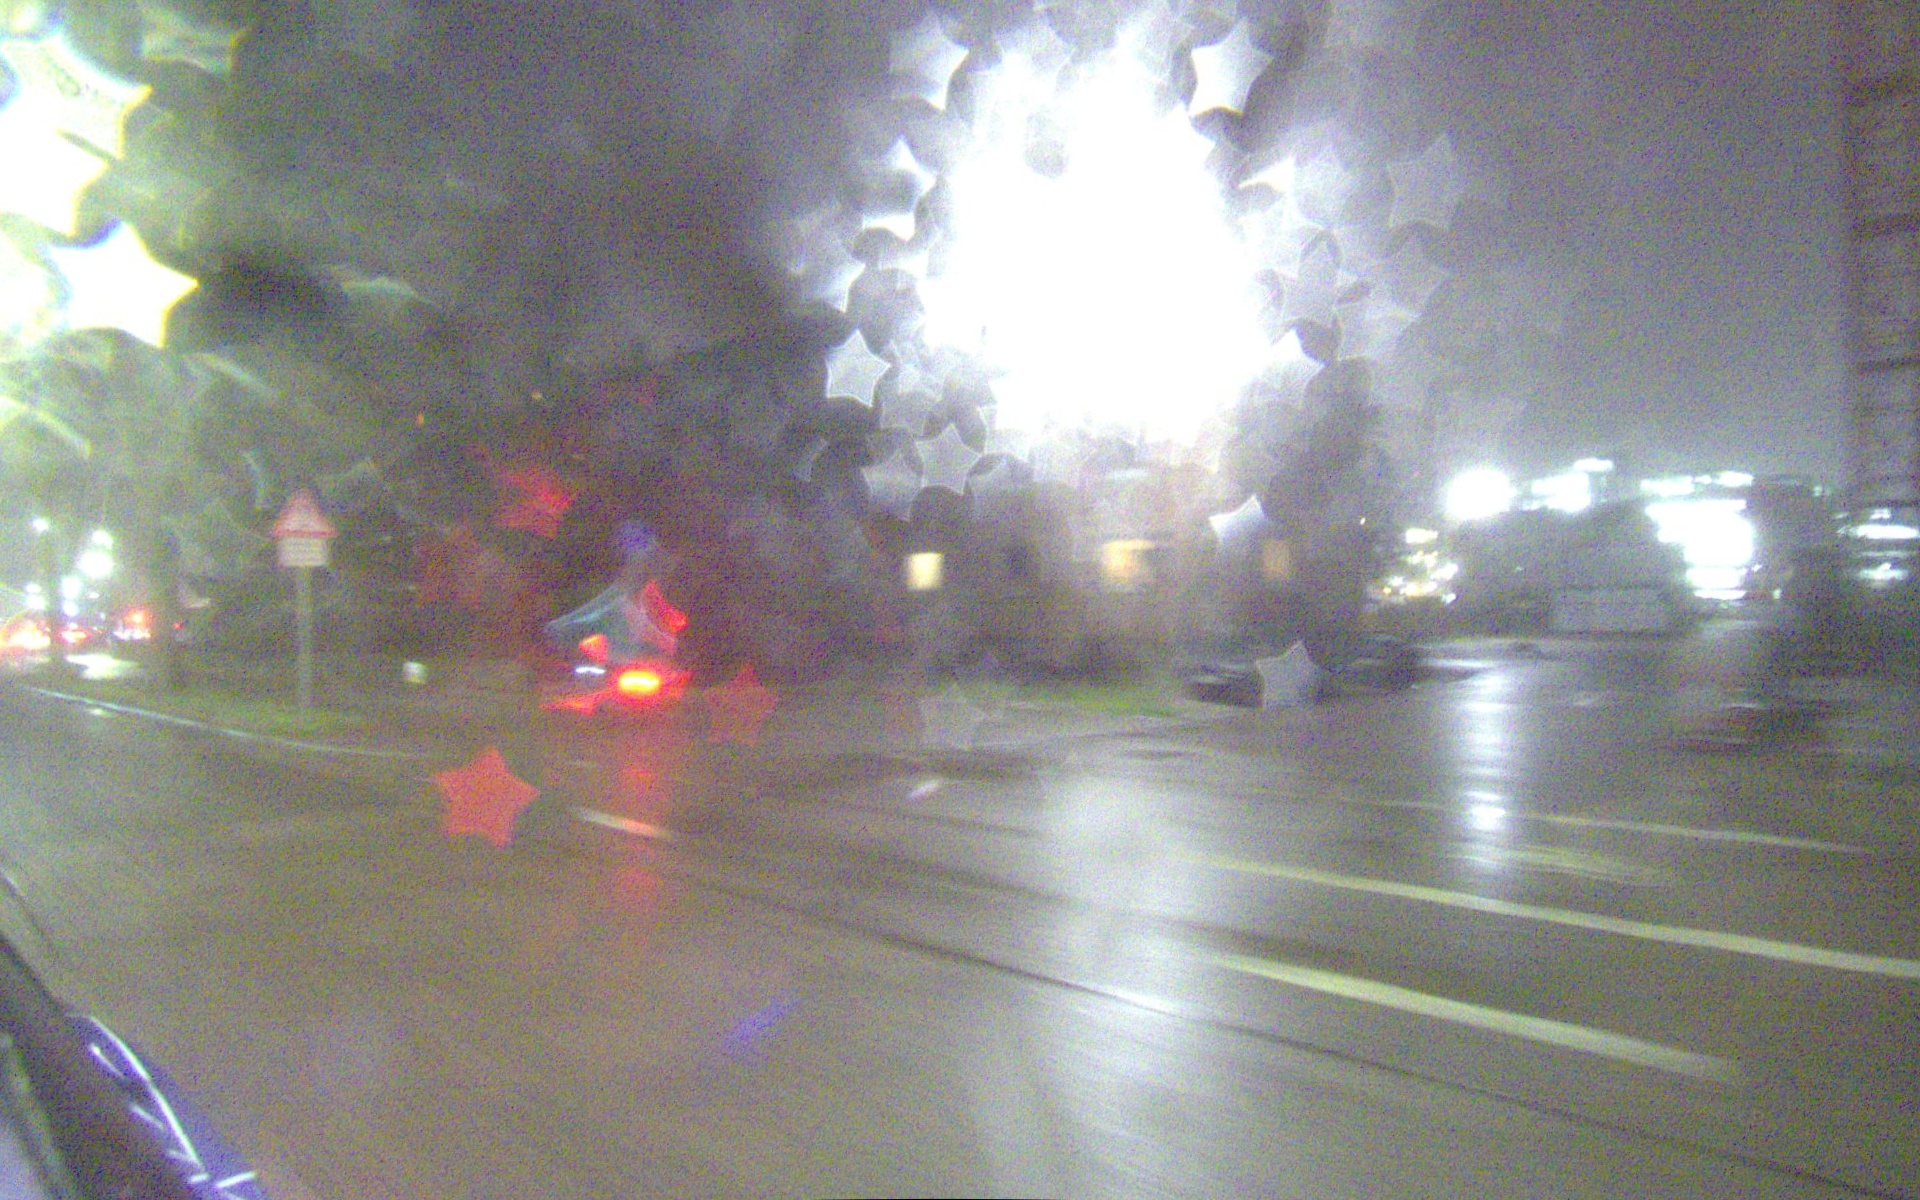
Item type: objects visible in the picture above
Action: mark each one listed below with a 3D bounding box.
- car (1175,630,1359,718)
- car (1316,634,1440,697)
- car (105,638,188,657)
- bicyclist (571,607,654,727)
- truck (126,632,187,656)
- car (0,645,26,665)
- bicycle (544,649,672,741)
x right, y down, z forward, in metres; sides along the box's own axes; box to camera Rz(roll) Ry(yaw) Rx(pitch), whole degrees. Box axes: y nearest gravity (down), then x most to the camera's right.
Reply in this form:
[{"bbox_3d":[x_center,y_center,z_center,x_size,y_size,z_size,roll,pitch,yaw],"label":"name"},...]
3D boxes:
[{"bbox_3d":[5.822,1.306,18.922,4.028,1.381,1.495,2,1,-44],"label":"car"},{"bbox_3d":[9.748,1.460,23.453,1.494,1.268,3.814,1,0,41],"label":"car"},{"bbox_3d":[-83.417,4.843,103.905,1.988,1.830,6.389,-1,-2,24],"label":"car"},{"bbox_3d":[-4.893,0.948,14.235,0.959,1.607,0.630,-6,-4,40],"label":"bicyclist"},{"bbox_3d":[-87.412,4.742,110.251,2.283,2.415,7.835,0,-2,-15],"label":"truck"},{"bbox_3d":[-74.940,4.302,79.582,1.969,1.466,4.309,6,-5,-41],"label":"car"},{"bbox_3d":[-5.026,1.306,14.356,2.312,1.169,0.623,-2,-1,40],"label":"bicycle"}]
